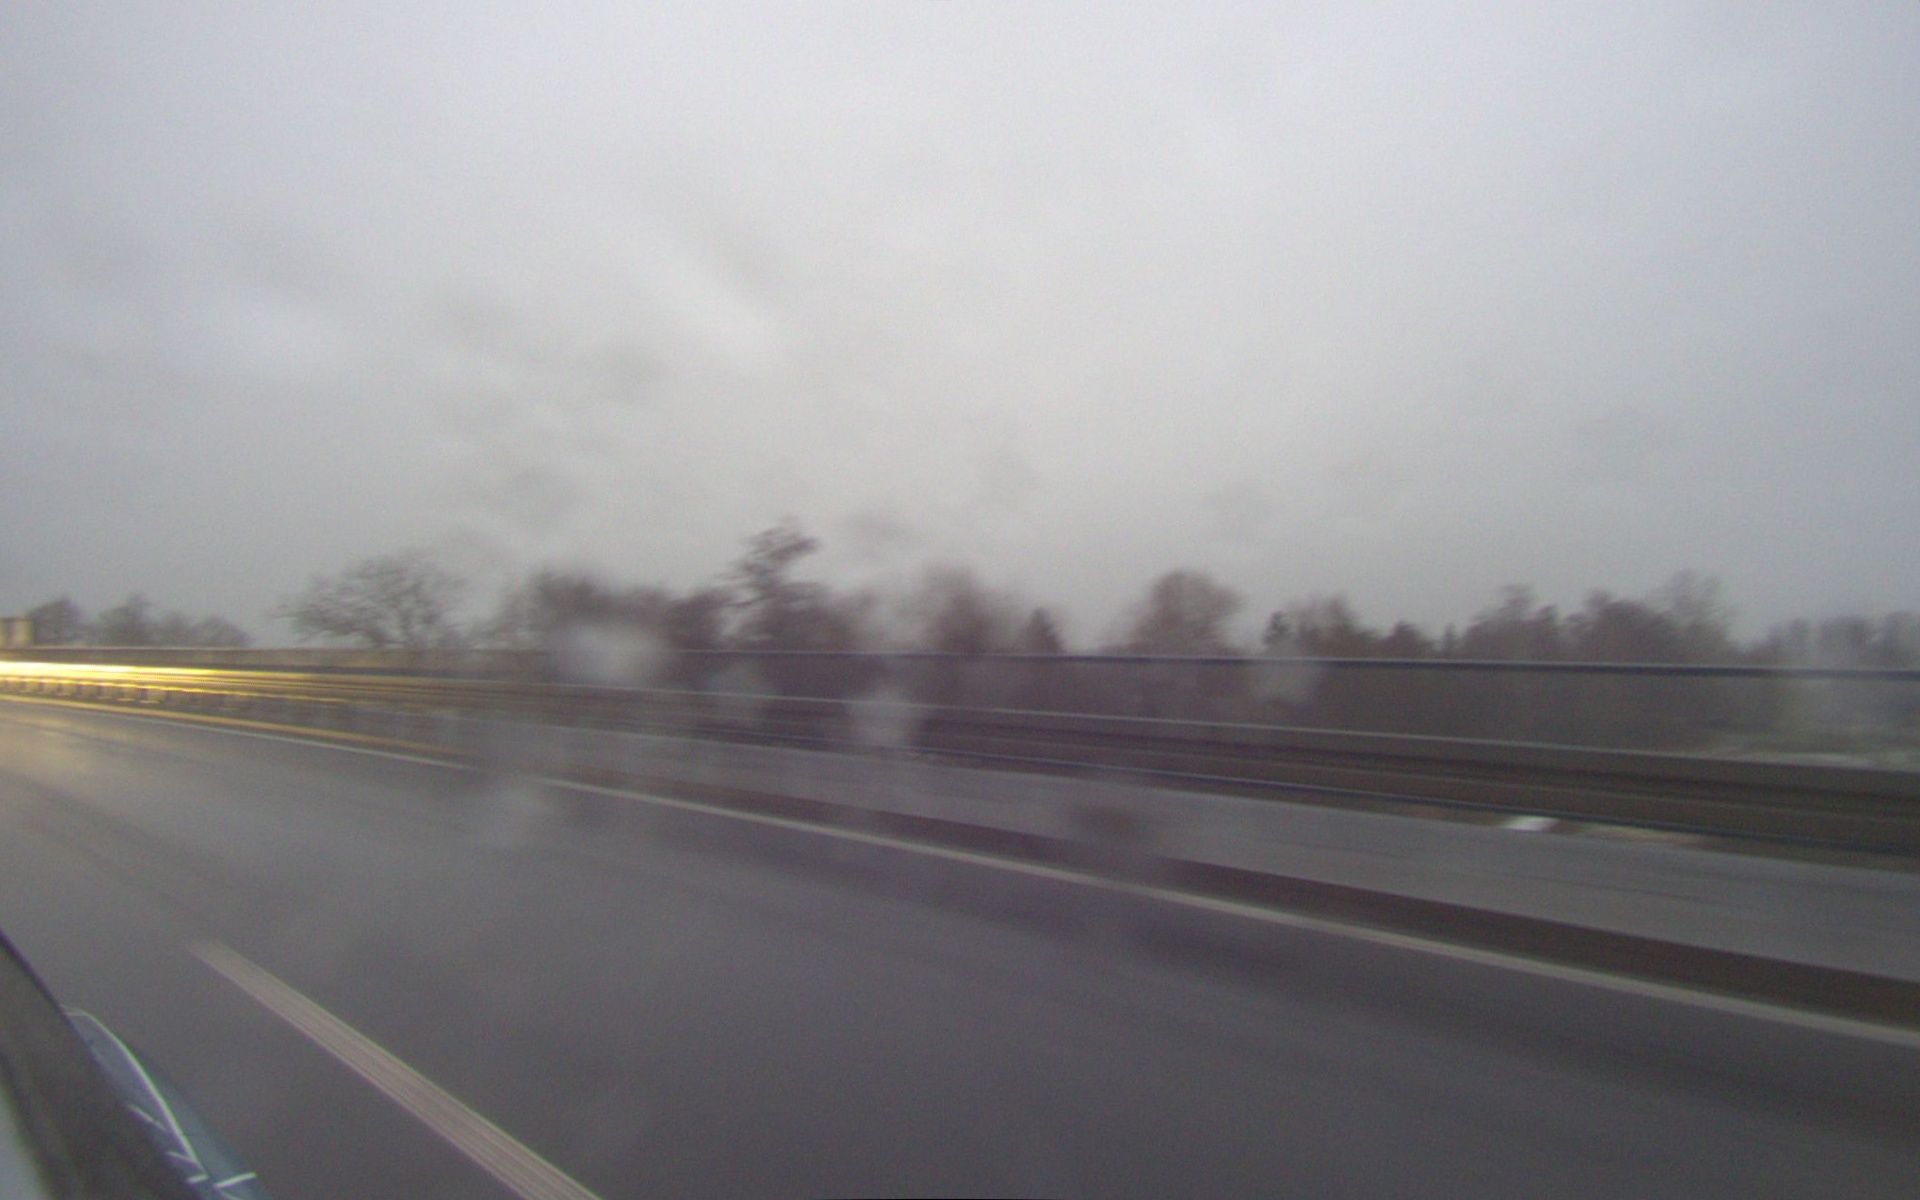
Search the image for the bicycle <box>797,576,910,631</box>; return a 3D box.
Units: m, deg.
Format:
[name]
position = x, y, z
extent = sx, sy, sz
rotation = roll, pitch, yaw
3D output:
[bicycle]
position = -4.178, 0.163, 39.599
extent = 3.985, 2.029, 1.979
rotation = -1, -1, 31
